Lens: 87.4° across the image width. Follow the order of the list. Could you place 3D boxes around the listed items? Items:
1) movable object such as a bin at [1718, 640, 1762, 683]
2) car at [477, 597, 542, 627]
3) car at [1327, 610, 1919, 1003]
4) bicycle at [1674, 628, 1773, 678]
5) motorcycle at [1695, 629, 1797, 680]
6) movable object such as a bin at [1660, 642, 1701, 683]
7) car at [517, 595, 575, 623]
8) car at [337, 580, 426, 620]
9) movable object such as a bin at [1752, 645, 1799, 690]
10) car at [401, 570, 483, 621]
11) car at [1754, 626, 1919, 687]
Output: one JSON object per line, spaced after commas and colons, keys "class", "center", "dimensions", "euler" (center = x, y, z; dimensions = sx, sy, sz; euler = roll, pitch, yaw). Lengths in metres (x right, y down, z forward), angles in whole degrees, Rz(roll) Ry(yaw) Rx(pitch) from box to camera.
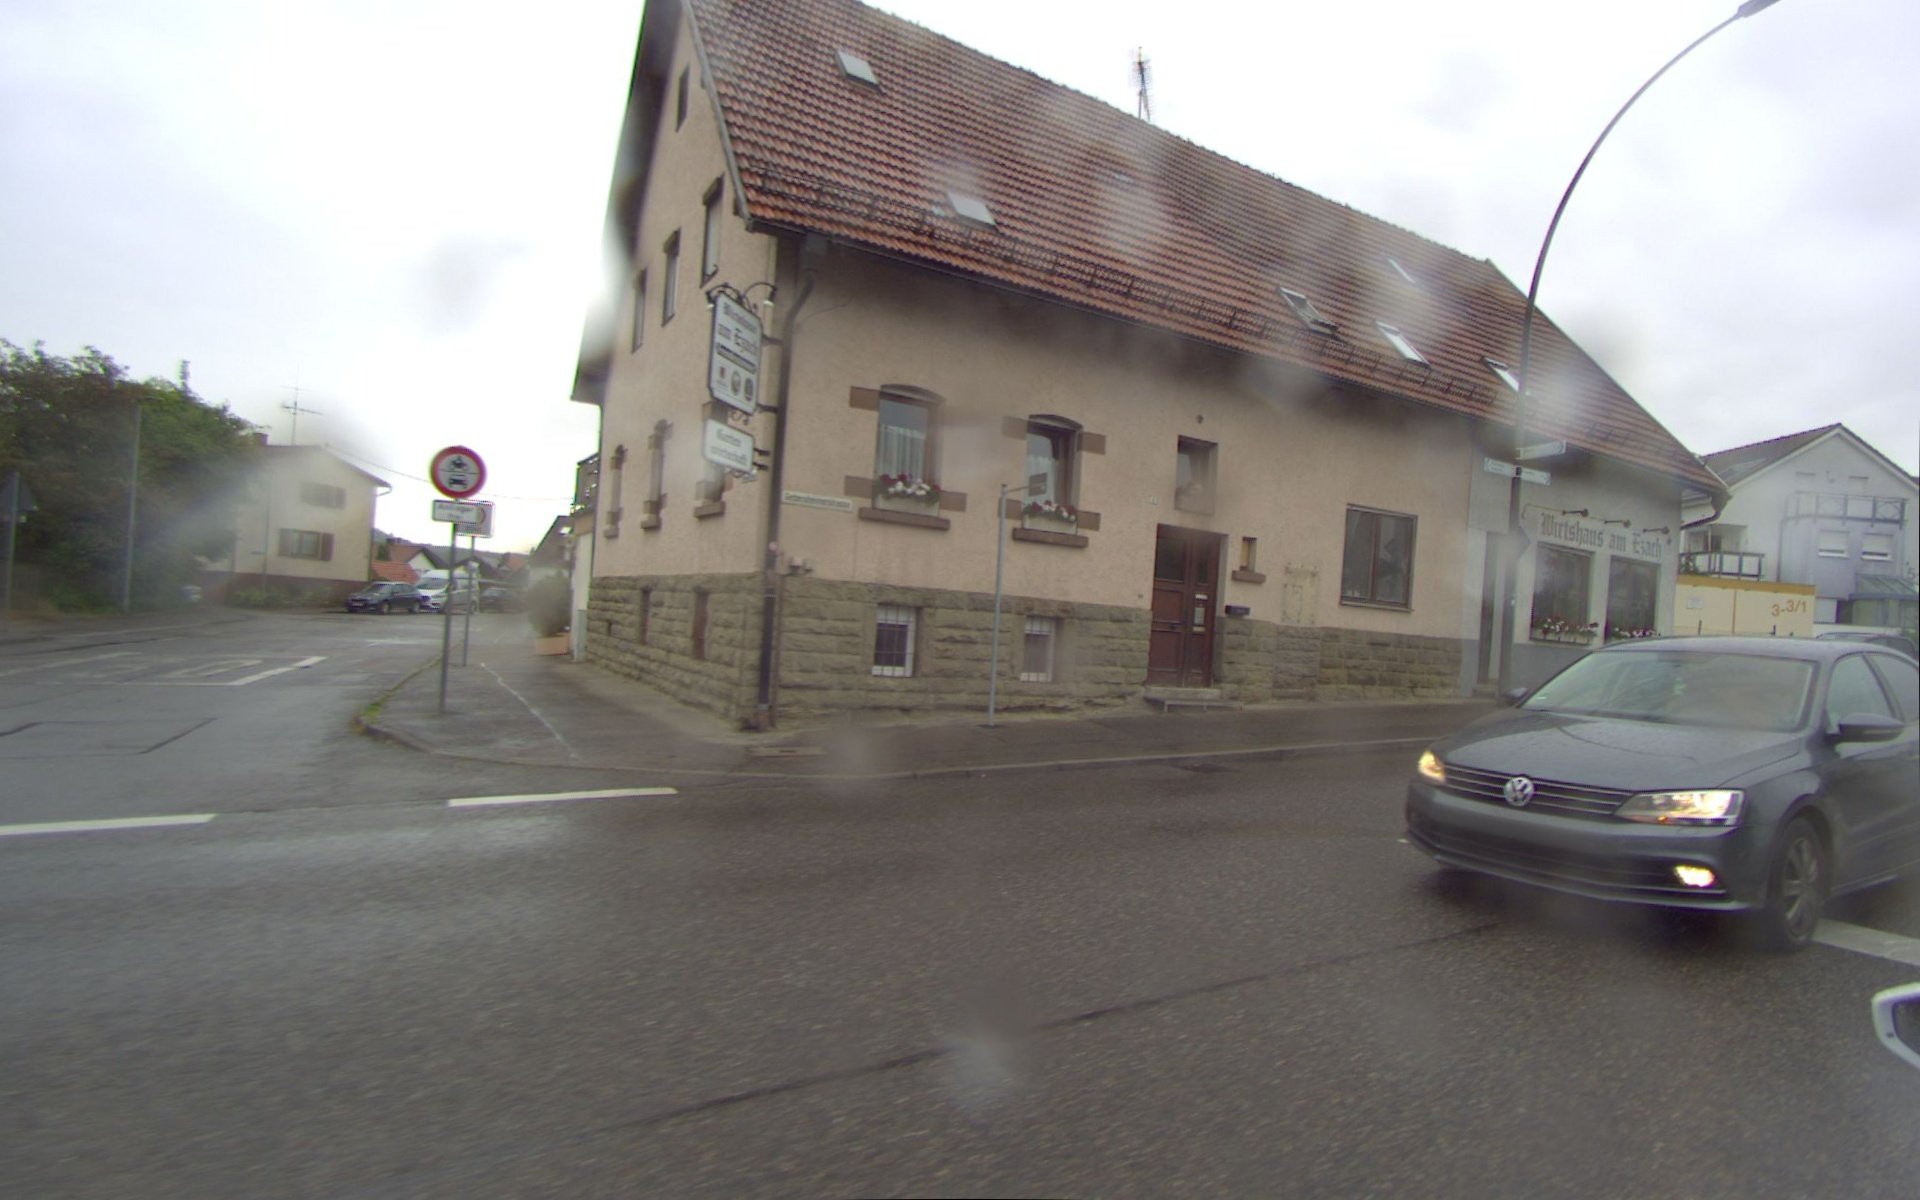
{"class": "movable object such as a bin", "center": [19.340, 1.528, 24.923], "dimensions": [0.595, 1.046, 0.638], "euler": [2, -2, -16]}
{"class": "car", "center": [-27.624, 0.742, 61.698], "dimensions": [1.960, 1.700, 4.002], "euler": [1, -2, 4]}
{"class": "car", "center": [4.387, 0.892, 6.007], "dimensions": [4.177, 1.595, 1.934], "euler": [1, -1, -31]}
{"class": "bicycle", "center": [20.749, 1.414, 27.356], "dimensions": [0.725, 1.128, 2.098], "euler": [4, 2, -13]}
{"class": "motorcycle", "center": [21.484, 1.463, 27.511], "dimensions": [0.767, 1.129, 2.111], "euler": [3, 2, -13]}
{"class": "movable object such as a bin", "center": [18.940, 1.630, 26.408], "dimensions": [0.595, 1.046, 0.638], "euler": [2, -2, -16]}
{"class": "car", "center": [-27.596, 0.631, 67.029], "dimensions": [1.960, 1.742, 4.002], "euler": [1, -2, 4]}
{"class": "car", "center": [-28.240, 0.027, 49.217], "dimensions": [1.960, 1.773, 4.001], "euler": [1, -2, 0]}
{"class": "movable object such as a bin", "center": [19.625, 1.628, 24.178], "dimensions": [0.662, 1.046, 0.638], "euler": [2, -2, -17]}
{"class": "car", "center": [-27.882, -0.177, 54.240], "dimensions": [1.960, 2.574, 4.289], "euler": [1, -2, 4]}
{"class": "car", "center": [24.143, 1.529, 27.382], "dimensions": [3.761, 1.461, 1.903], "euler": [2, 1, -12]}
